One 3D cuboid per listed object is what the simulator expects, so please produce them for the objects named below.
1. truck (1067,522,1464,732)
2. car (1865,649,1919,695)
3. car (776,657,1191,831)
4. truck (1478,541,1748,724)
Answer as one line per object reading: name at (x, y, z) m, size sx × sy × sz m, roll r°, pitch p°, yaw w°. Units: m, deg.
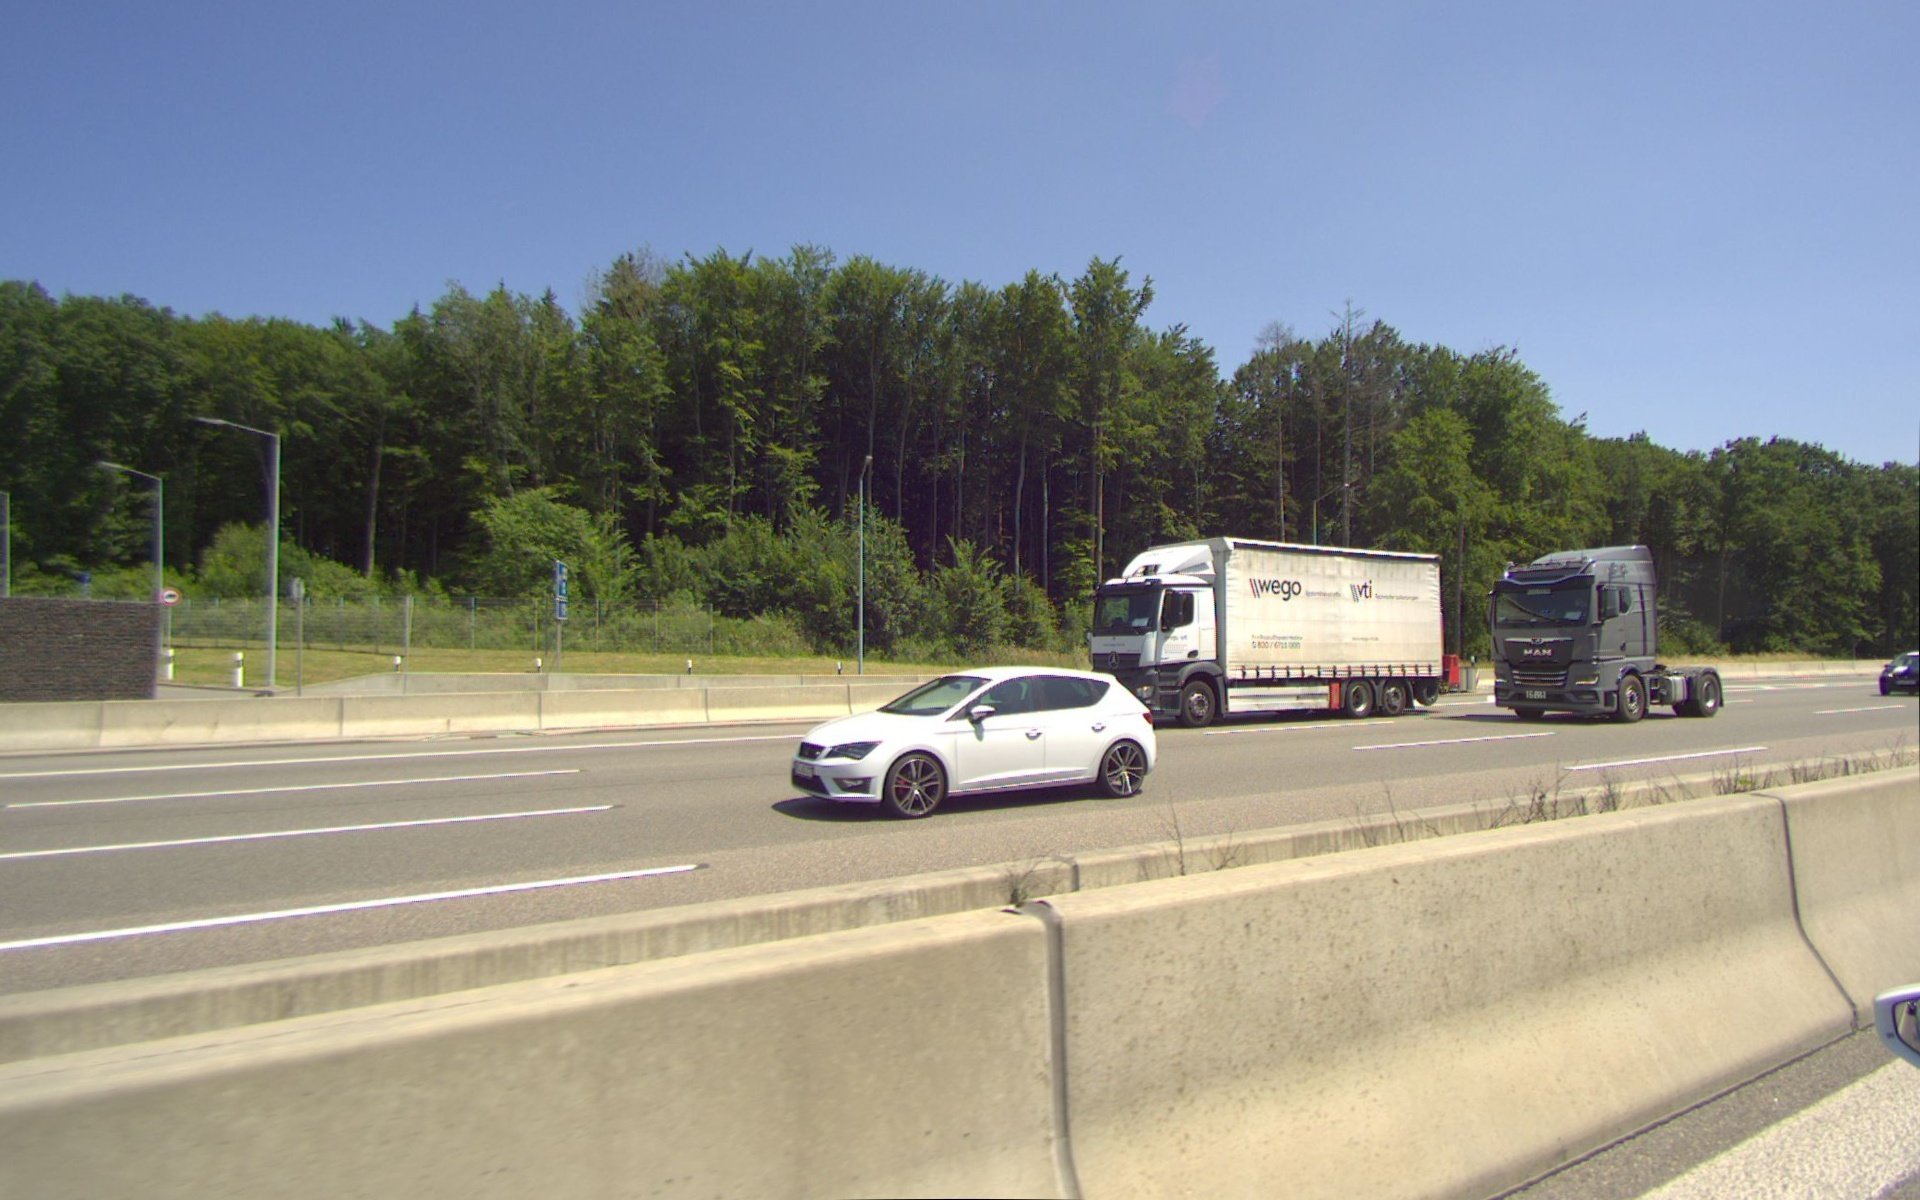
truck at (7.654, 0.723, 24.298) m, size 10.471 × 4.252 × 2.822 m, roll 2°, pitch -3°, yaw -30°
car at (33.254, 2.470, 34.812) m, size 3.770 × 1.505 × 1.745 m, roll 1°, pitch -4°, yaw -31°
car at (0.356, 1.429, 11.139) m, size 4.411 × 1.526 × 1.713 m, roll 1°, pitch -2°, yaw -32°
truck at (15.845, 0.806, 24.255) m, size 6.935 × 3.891 × 2.566 m, roll 1°, pitch -3°, yaw -30°
